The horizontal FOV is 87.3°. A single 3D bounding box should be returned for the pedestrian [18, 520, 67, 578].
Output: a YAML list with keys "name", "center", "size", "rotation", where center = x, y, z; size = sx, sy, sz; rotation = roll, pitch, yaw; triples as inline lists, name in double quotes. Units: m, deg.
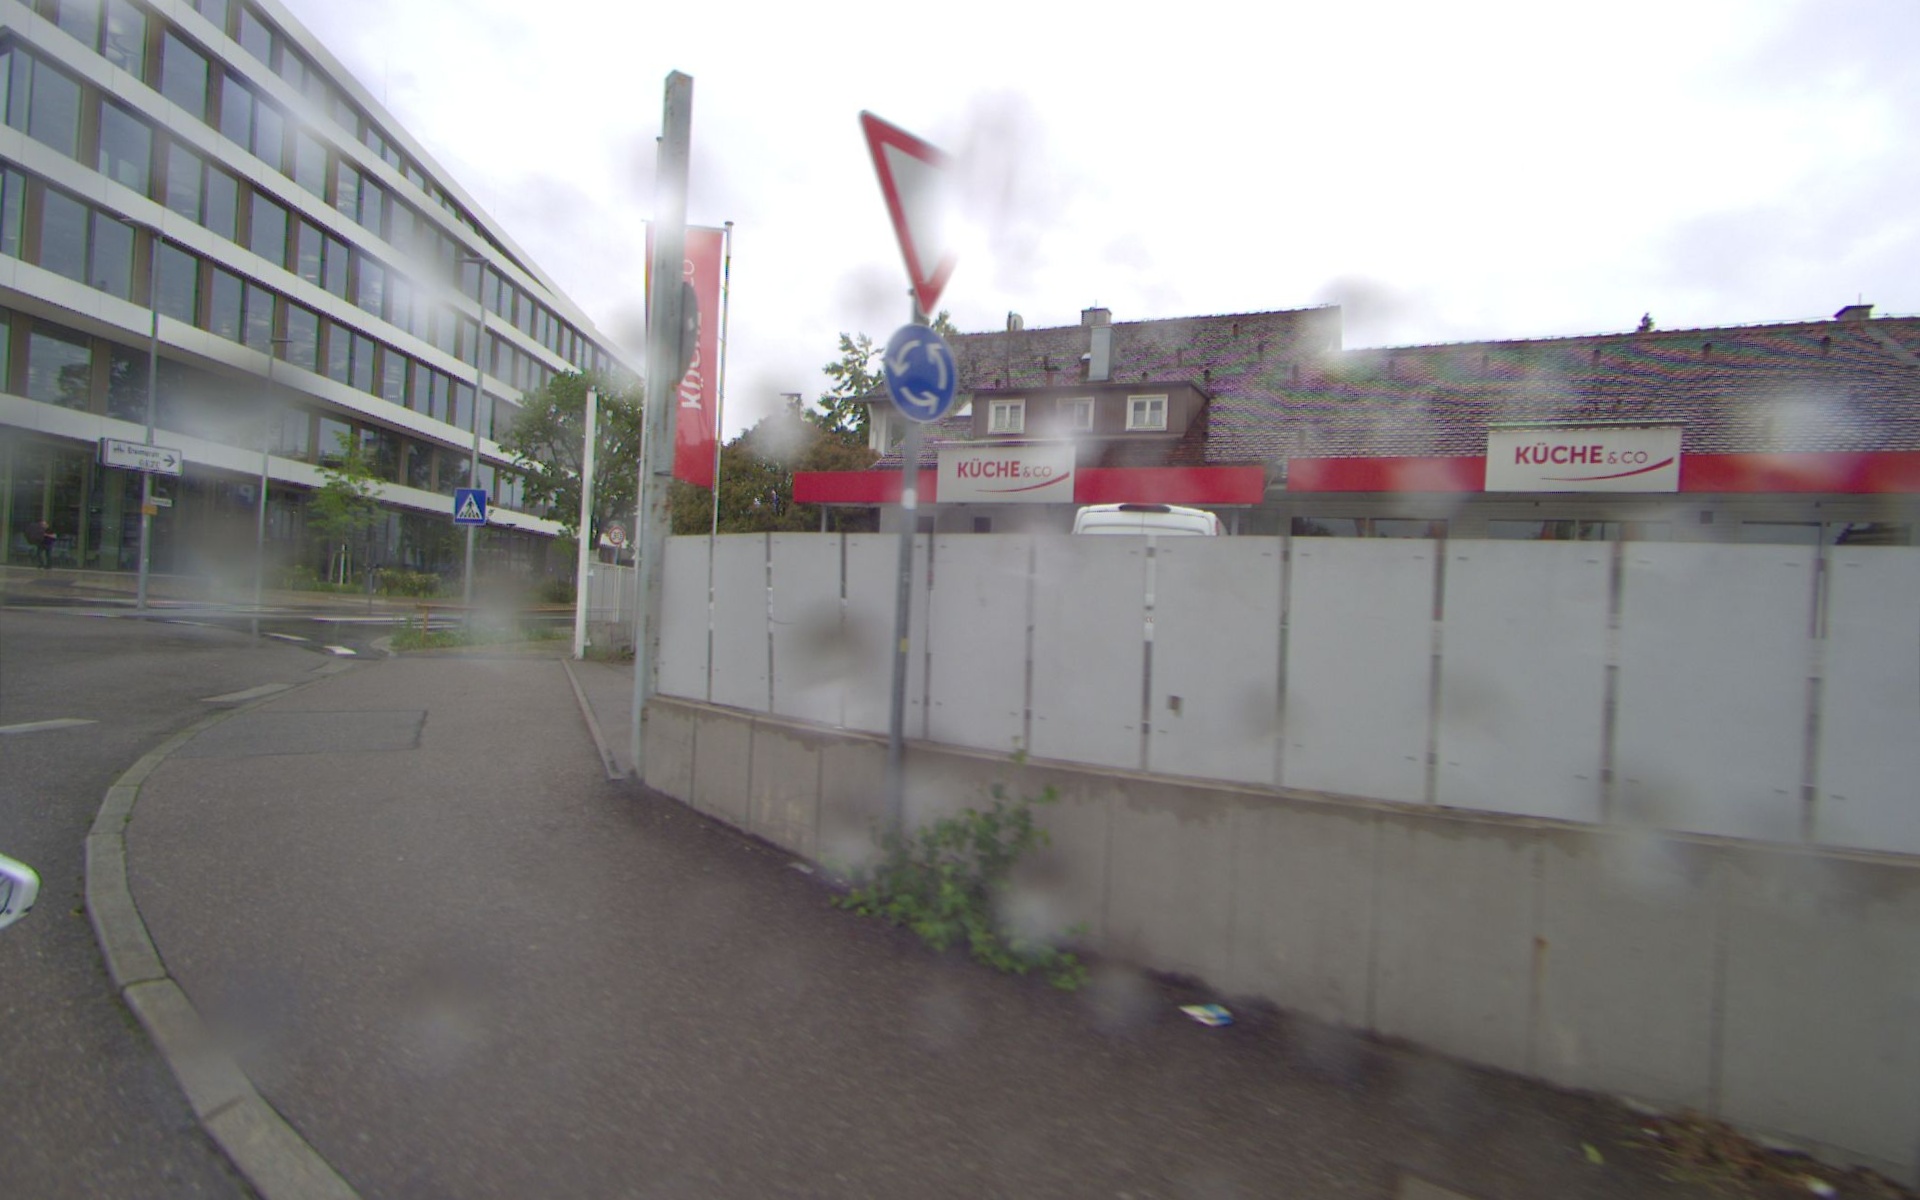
- name: "pedestrian"
  center: [-34.335, -1.899, 37.662]
  size: [0.877, 2.039, 0.931]
  rotation: [4, 0, -2]

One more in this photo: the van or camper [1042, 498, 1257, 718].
- name: "van or camper"
  center: [3.000, 0.124, 14.779]
  size: [2.091, 2.573, 5.259]
  rotation: [3, 0, 21]

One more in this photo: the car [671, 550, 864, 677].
- name: "car"
  center: [-2.972, 0.216, 16.514]
  size: [1.811, 1.712, 4.171]
  rotation: [3, 0, 7]

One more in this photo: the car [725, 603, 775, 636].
- name: "car"
  center: [-12.001, 1.157, 57.649]
  size: [1.919, 1.573, 4.002]
  rotation: [7, -2, -1]
